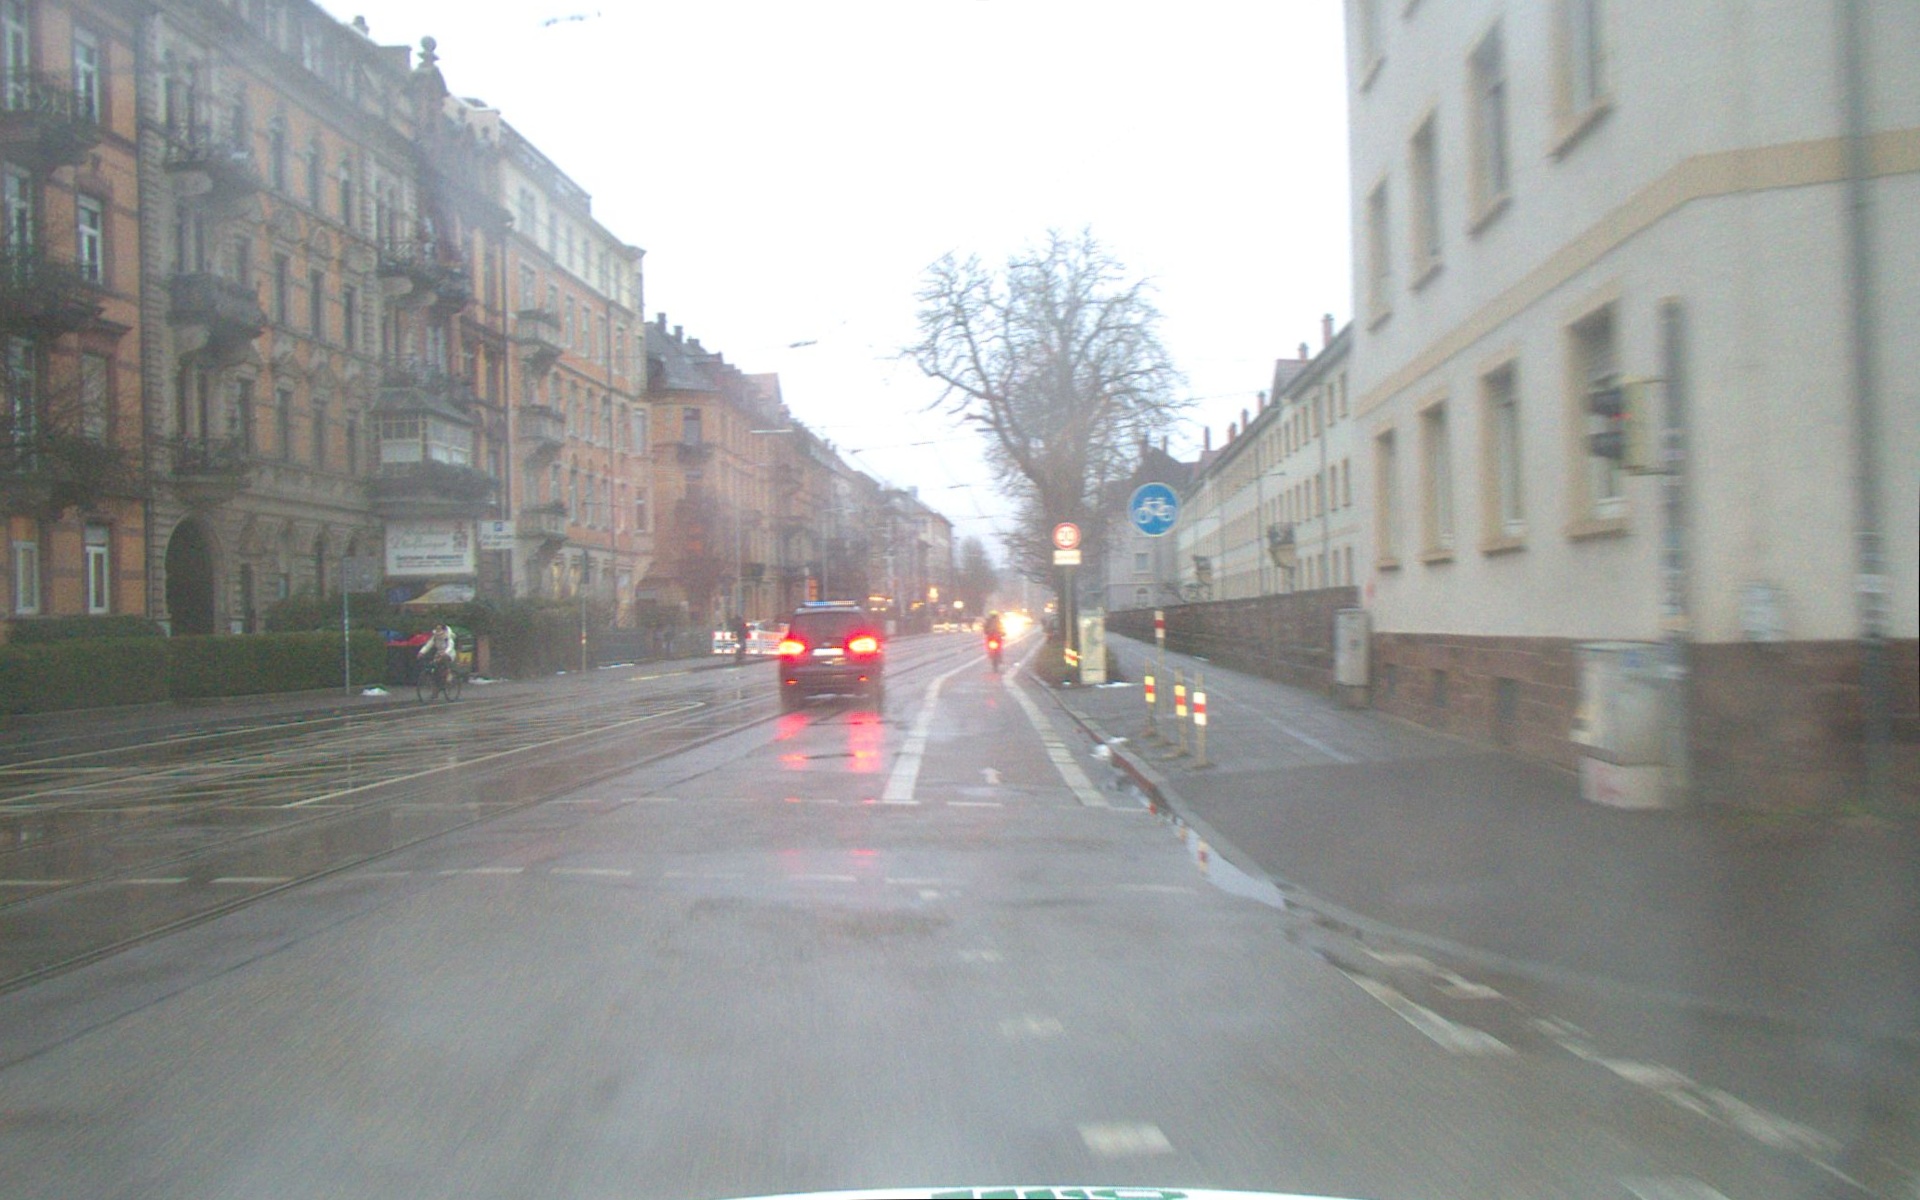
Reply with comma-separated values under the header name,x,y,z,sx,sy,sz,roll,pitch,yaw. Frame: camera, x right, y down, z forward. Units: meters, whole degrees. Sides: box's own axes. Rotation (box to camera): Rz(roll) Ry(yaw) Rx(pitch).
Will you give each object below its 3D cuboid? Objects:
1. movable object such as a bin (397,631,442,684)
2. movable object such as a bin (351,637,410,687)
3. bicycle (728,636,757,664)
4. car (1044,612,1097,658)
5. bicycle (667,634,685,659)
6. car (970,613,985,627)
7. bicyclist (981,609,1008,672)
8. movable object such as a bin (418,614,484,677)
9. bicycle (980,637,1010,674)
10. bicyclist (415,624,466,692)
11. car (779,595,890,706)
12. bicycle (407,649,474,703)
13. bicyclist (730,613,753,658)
name,x,y,z,sx,sy,sz,roll,pitch,yaw
movable object such as a bin,-13.944,1.483,42.682,0.876,1.315,0.746,-1,-1,1
movable object such as a bin,-15.001,1.602,42.821,1.160,1.228,0.946,-1,-1,1
bicycle,-8.114,1.869,61.655,0.664,0.989,1.934,-1,-1,5
car,3.860,1.213,58.326,1.748,1.536,3.989,-2,-1,3
bicycle,-11.356,1.840,66.073,0.257,0.931,1.686,4,0,4
car,2.377,2.722,225.543,1.883,1.750,4.002,-2,-1,3
bicyclist,0.995,1.157,47.591,0.715,1.767,0.766,-1,-1,5
movable object such as a bin,-13.402,1.181,43.594,1.217,1.613,1.309,-1,-1,8
bicycle,1.012,1.588,47.586,0.716,1.024,1.765,-1,-1,5
bicyclist,-10.726,1.187,34.186,0.689,1.388,0.944,0,-1,5
car,-2.251,0.885,30.650,1.765,1.903,4.017,1,0,-1
bicycle,-10.719,1.554,34.194,0.667,1.024,1.804,-1,-1,5
bicyclist,-8.134,1.324,61.615,0.669,1.644,0.766,-1,-1,4
